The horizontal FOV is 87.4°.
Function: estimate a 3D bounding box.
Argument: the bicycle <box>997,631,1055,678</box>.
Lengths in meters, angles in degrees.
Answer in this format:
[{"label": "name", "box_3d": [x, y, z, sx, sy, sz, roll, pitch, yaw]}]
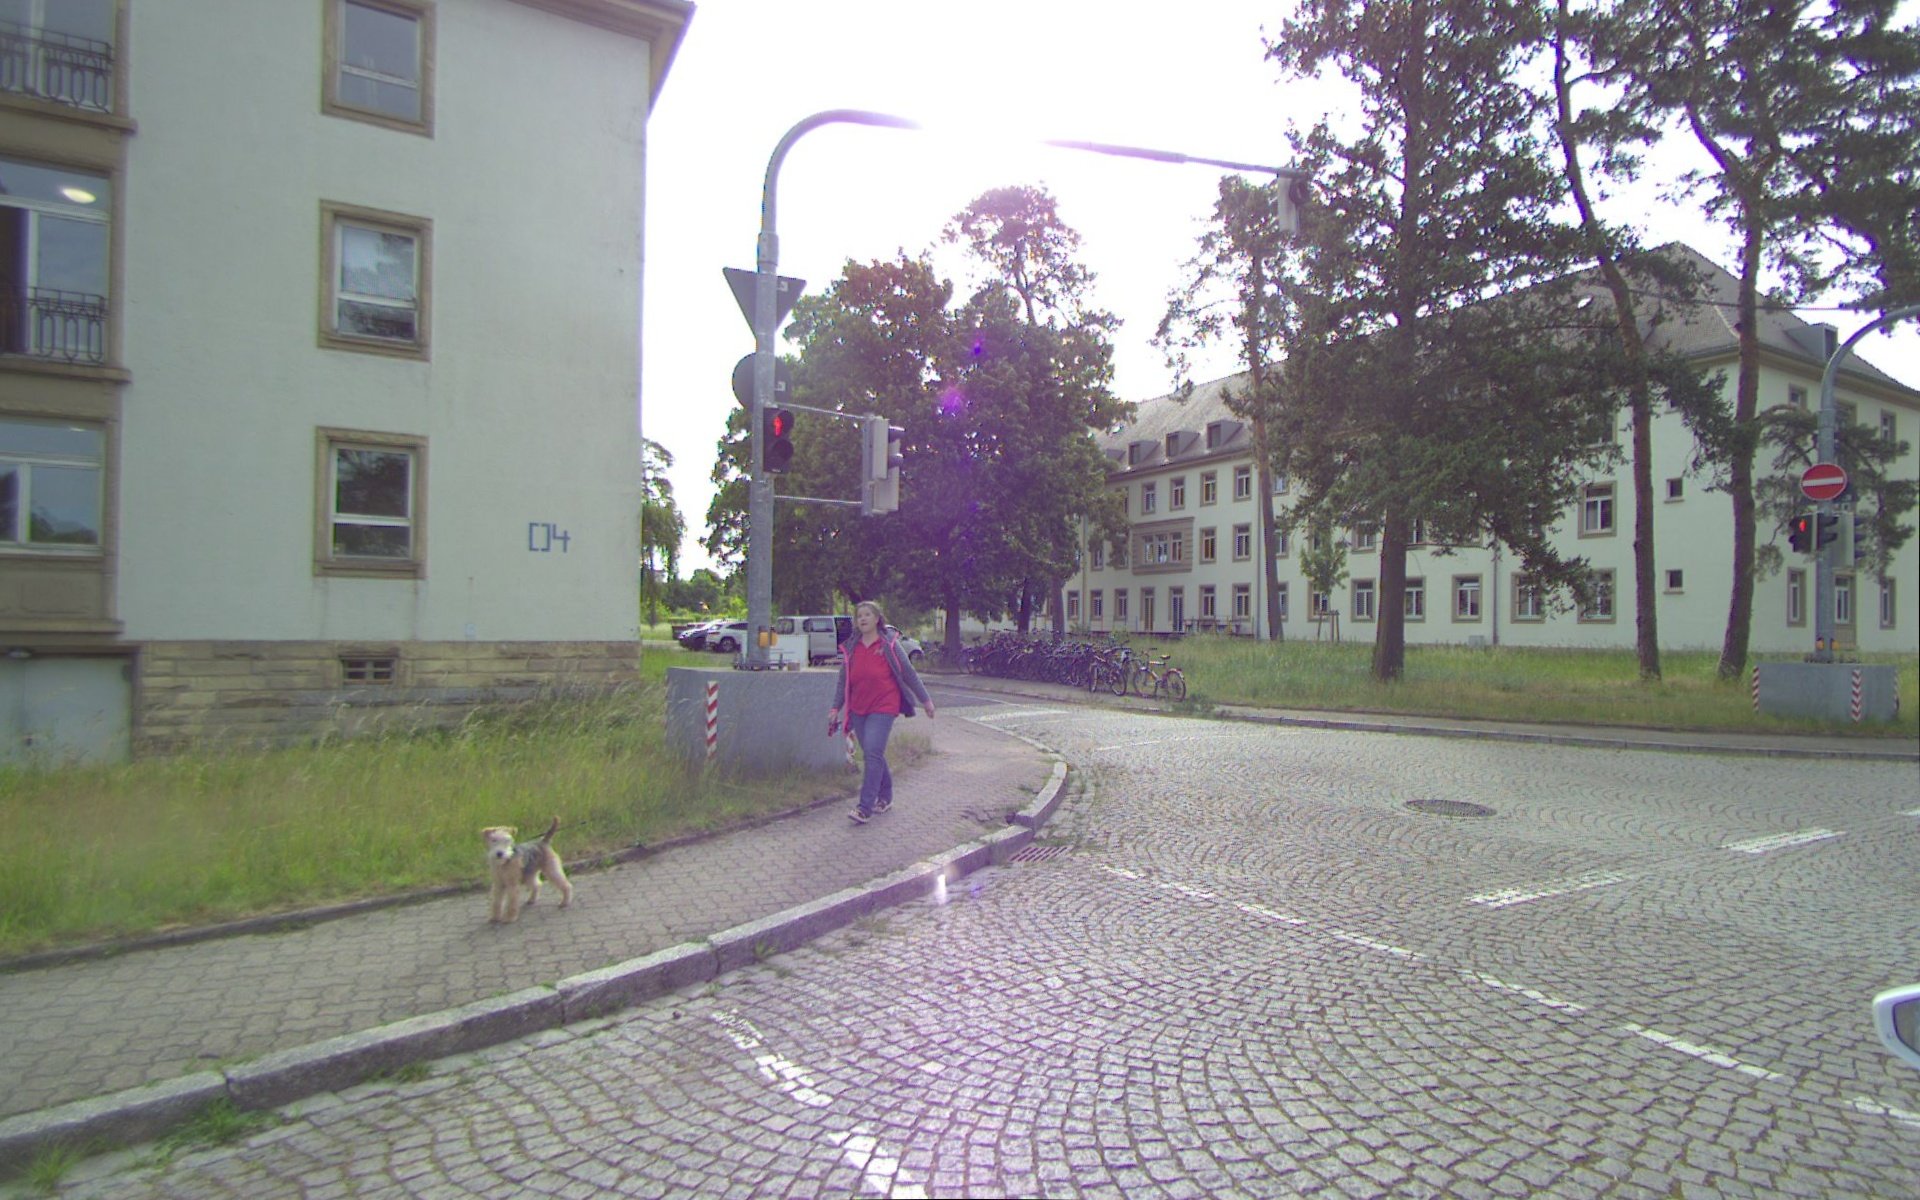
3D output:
[{"label": "bicycle", "box_3d": [1.868, 1.526, 28.267, 1.676, 1.300, 0.447, 2, -2, -31]}]

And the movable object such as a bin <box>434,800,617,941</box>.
[{"label": "movable object such as a bin", "box_3d": [-2.194, 1.348, 5.123, 0.436, 0.510, 0.752, 0, -2, 25]}]

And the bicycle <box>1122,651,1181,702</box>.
[{"label": "bicycle", "box_3d": [4.061, 1.611, 21.390, 0.446, 1.009, 1.454, 1, -2, -27]}]

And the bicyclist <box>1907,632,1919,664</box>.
[{"label": "bicyclist", "box_3d": [46.055, 2.281, 48.004, 0.798, 1.530, 0.969, 1, -2, -32]}]

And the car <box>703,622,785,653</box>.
[{"label": "car", "box_3d": [-11.322, 1.973, 52.651, 3.849, 1.546, 1.832, 2, -2, -29]}]

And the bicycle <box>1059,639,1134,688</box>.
[{"label": "bicycle", "box_3d": [3.456, 1.600, 25.363, 1.931, 1.193, 0.572, 2, -2, -31]}]

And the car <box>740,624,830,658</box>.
[{"label": "car", "box_3d": [-8.363, 1.964, 47.979, 3.849, 1.534, 1.832, 2, -2, -29]}]

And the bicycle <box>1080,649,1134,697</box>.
[{"label": "bicycle", "box_3d": [3.320, 1.637, 22.723, 0.446, 1.009, 1.454, 1, -2, -27]}]

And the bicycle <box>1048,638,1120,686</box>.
[{"label": "bicycle", "box_3d": [3.205, 1.597, 25.891, 1.908, 1.193, 0.525, 2, -2, -31]}]

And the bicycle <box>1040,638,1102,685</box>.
[{"label": "bicycle", "box_3d": [2.914, 1.605, 26.314, 1.676, 1.193, 0.447, 2, -2, -31]}]

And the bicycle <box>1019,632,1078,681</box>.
[{"label": "bicycle", "box_3d": [2.422, 1.535, 27.412, 1.676, 1.300, 0.447, 2, -2, -31]}]

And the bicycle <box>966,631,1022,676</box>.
[{"label": "bicycle", "box_3d": [1.003, 1.568, 29.745, 1.676, 1.300, 0.447, 2, -2, -31]}]

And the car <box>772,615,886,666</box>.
[{"label": "car", "box_3d": [-5.165, 1.602, 39.701, 4.085, 1.932, 1.832, 1, -2, -29]}]

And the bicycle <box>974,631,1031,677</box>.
[{"label": "bicycle", "box_3d": [1.243, 1.571, 29.322, 1.676, 1.300, 0.447, 2, -2, -31]}]

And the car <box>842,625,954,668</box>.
[{"label": "car", "box_3d": [-2.353, 1.745, 38.116, 3.849, 1.576, 1.832, 2, -2, -29]}]

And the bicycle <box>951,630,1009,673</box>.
[{"label": "bicycle", "box_3d": [0.618, 1.565, 30.599, 1.806, 1.300, 0.447, 2, -2, -31]}]

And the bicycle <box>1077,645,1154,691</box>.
[{"label": "bicycle", "box_3d": [3.850, 1.673, 24.789, 1.973, 1.092, 0.572, 2, -2, -31]}]

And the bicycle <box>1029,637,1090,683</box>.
[{"label": "bicycle", "box_3d": [2.667, 1.589, 26.731, 1.676, 1.193, 0.447, 2, -2, -31]}]

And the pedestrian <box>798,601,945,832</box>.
[{"label": "pedestrian", "box_3d": [-0.674, 0.870, 7.909, 0.921, 1.690, 0.863, 0, -1, 12]}]

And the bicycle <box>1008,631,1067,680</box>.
[{"label": "bicycle", "box_3d": [2.148, 1.531, 27.835, 1.676, 1.300, 0.447, 2, -2, -31]}]

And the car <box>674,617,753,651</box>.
[{"label": "car", "box_3d": [-13.506, 1.854, 55.040, 3.849, 1.788, 1.832, 2, -2, -29]}]

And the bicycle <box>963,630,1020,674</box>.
[{"label": "bicycle", "box_3d": [0.951, 1.572, 30.256, 1.764, 1.300, 0.440, 2, -2, -31]}]

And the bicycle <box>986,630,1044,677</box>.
[{"label": "bicycle", "box_3d": [1.581, 1.522, 28.751, 1.676, 1.300, 0.447, 2, -2, -31]}]

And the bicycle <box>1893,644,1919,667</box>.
[{"label": "bicycle", "box_3d": [46.038, 2.654, 48.004, 0.801, 1.110, 1.976, 1, -2, -32]}]
